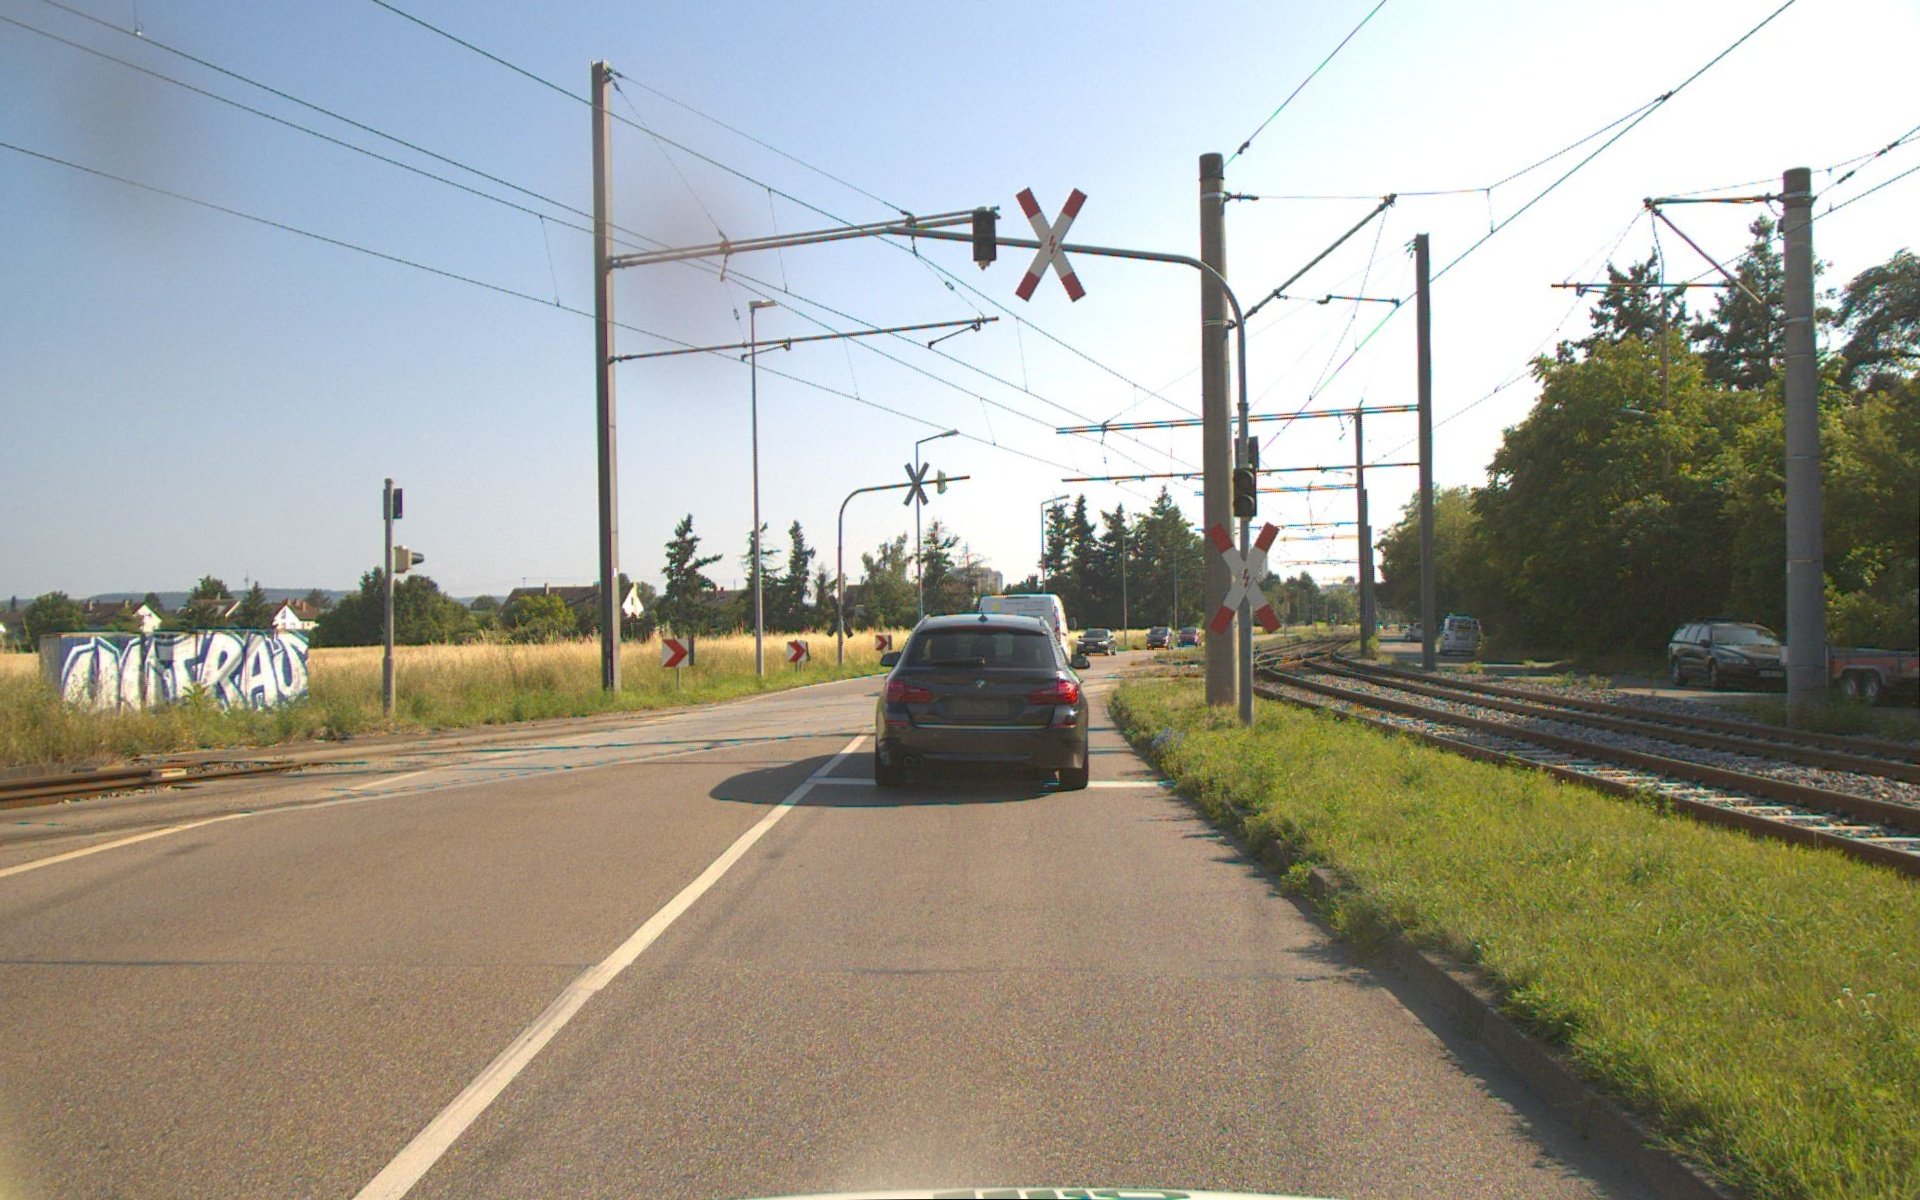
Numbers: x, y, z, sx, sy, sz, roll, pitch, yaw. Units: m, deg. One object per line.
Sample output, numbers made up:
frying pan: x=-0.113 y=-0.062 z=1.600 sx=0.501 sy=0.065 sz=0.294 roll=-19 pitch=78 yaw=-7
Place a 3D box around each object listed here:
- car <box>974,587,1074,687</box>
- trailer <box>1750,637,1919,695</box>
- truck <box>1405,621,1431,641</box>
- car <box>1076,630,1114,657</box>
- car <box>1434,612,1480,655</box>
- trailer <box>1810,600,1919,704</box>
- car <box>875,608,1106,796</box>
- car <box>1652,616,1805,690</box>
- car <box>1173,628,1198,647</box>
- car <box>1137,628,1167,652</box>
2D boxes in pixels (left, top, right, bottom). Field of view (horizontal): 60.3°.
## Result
car: x=1.472 y=0.787 z=36.349 sx=1.818 sy=2.023 sz=5.111 roll=0 pitch=-1 yaw=6
trailer: x=16.804 y=1.236 z=31.804 sx=1.695 sy=0.956 sz=3.730 roll=2 pitch=-1 yaw=5
truck: x=43.771 y=2.937 z=158.072 sx=2.157 sy=1.851 sz=5.933 roll=-1 pitch=-1 yaw=14
car: x=7.480 y=2.387 z=91.557 sx=1.657 sy=1.465 sz=4.287 roll=0 pitch=-1 yaw=11
car: x=25.430 y=1.703 z=84.772 sx=1.951 sy=2.039 sz=5.071 roll=2 pitch=-1 yaw=13
trailer: x=16.246 y=0.876 z=27.796 sx=1.984 sy=1.624 sz=4.261 roll=2 pitch=-1 yaw=5
car: x=0.224 y=0.819 z=15.464 sx=1.831 sy=1.478 sz=4.743 roll=0 pitch=0 yaw=-1
car: x=16.939 y=1.114 z=36.710 sx=1.662 sy=1.482 sz=4.884 roll=2 pitch=0 yaw=8
car: x=18.657 y=3.095 z=136.520 sx=1.676 sy=1.576 sz=3.931 roll=-1 pitch=-1 yaw=13
car: x=14.262 y=2.968 z=122.698 sx=1.670 sy=1.694 sz=4.593 roll=-1 pitch=-1 yaw=14
